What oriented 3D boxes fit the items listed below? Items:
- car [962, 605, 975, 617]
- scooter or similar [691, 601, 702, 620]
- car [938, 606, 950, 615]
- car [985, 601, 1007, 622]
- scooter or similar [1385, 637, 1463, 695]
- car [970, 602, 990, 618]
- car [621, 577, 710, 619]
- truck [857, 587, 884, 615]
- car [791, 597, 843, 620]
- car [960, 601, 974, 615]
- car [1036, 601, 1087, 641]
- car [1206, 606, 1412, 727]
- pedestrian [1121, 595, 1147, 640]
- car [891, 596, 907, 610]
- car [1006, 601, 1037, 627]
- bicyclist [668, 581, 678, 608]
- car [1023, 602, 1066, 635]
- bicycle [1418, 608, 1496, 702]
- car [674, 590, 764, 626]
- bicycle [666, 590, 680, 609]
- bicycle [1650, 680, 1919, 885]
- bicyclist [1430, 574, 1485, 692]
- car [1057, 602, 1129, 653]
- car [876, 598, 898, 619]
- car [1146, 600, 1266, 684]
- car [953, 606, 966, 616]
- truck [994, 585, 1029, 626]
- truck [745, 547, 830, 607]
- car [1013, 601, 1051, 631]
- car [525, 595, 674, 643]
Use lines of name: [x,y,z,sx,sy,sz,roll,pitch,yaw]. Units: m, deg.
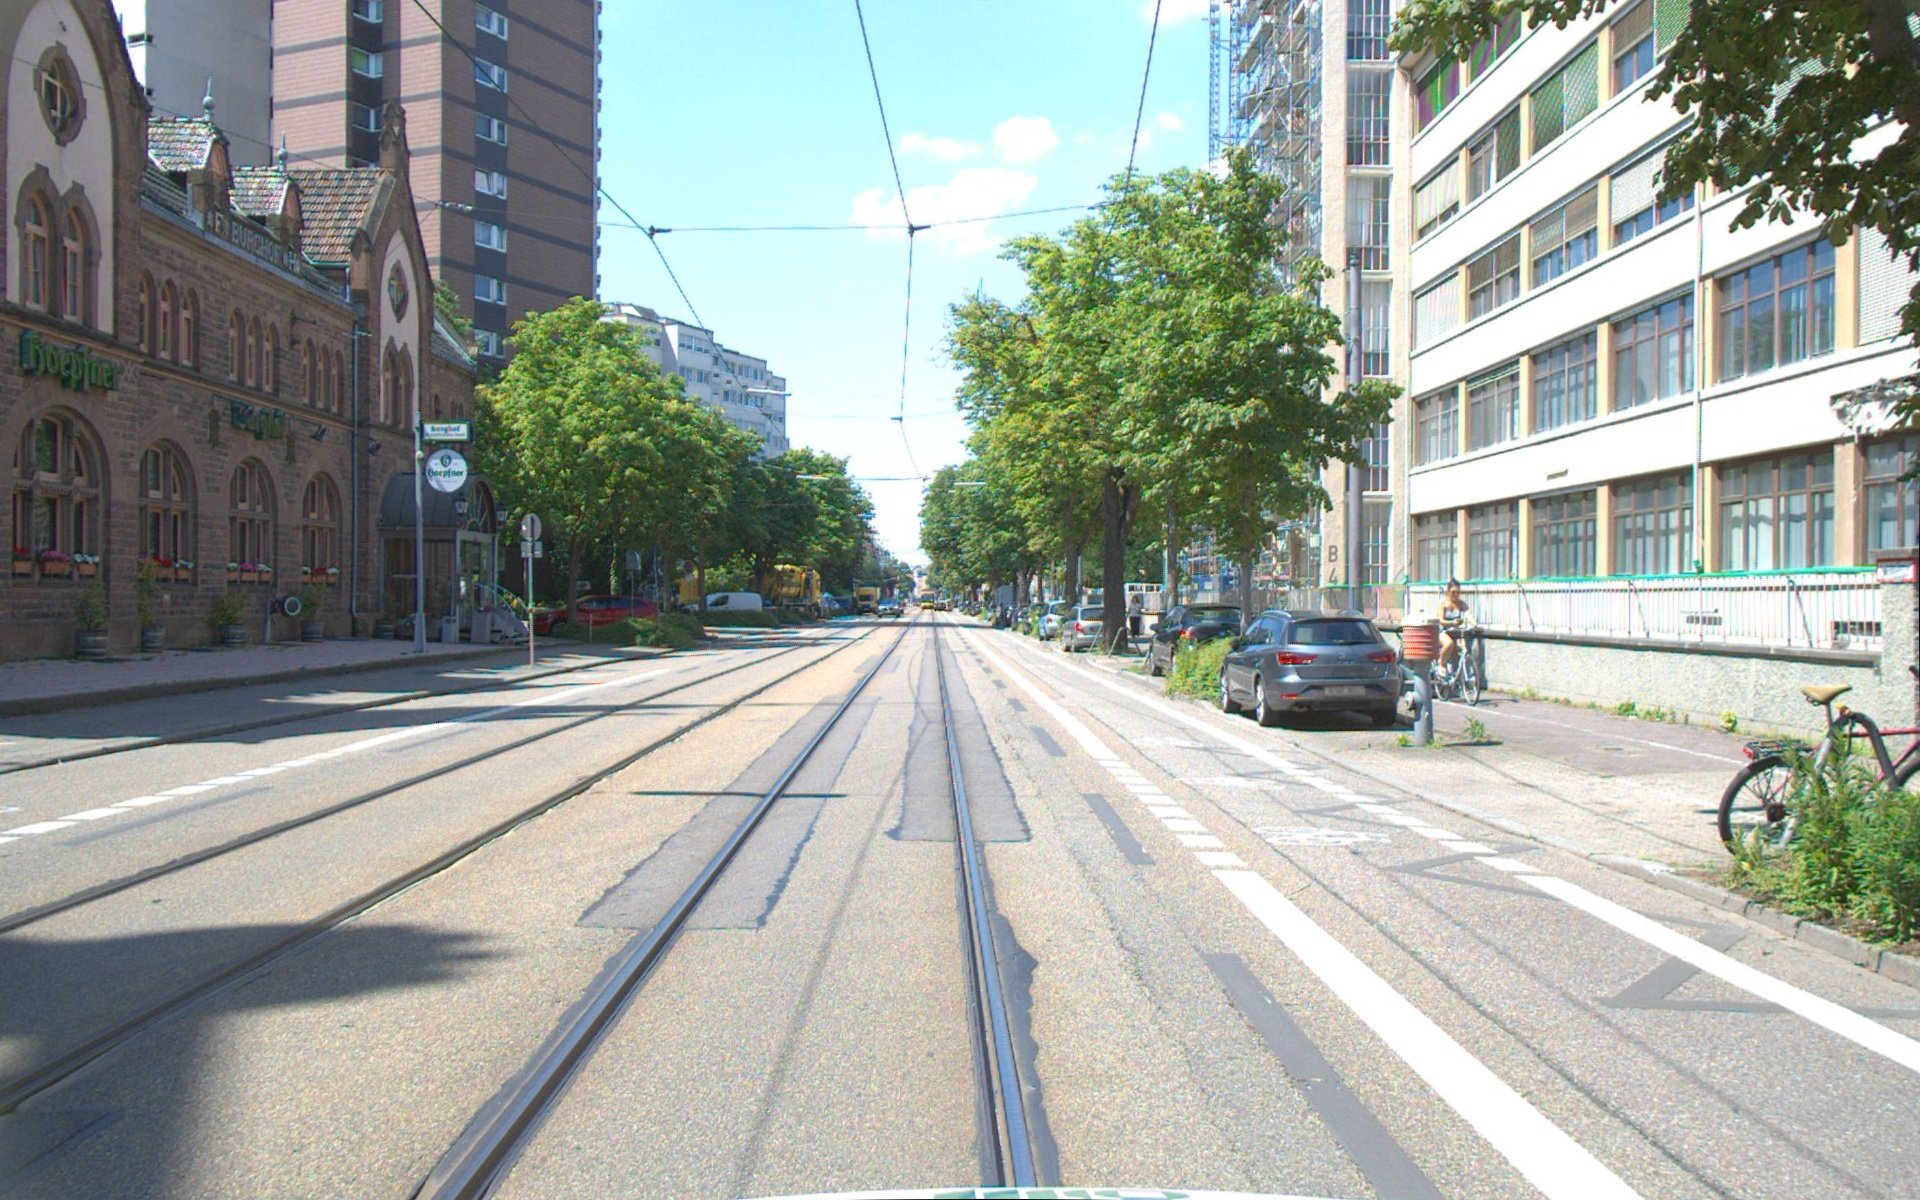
car: [1.125,1.465,220.421,1.676,1.448,4.308,-1,-1,-1]
scooter or similar: [-16.747,0.666,105.248,0.375,1.143,1.370,1,0,4]
car: [-2.369,1.515,246.443,1.745,1.369,3.415,0,0,-1]
car: [2.732,0.854,126.282,1.610,1.561,3.785,0,0,0]
scooter or similar: [7.242,1.012,25.882,0.746,0.821,1.555,-2,0,-1]
car: [1.926,0.989,160.153,1.606,1.511,3.869,-1,-1,-4]
car: [-19.724,-0.086,111.248,2.137,2.611,6.713,0,-2,29]
truck: [-9.521,0.108,175.780,2.312,2.902,7.378,-1,0,1]
car: [-12.873,0.774,149.134,1.887,1.968,4.729,-2,-1,41]
car: [0.830,1.023,201.228,1.560,1.645,3.906,-1,-1,-1]
car: [3.993,0.812,65.400,1.637,1.544,4.200,0,0,-2]
car: [4.557,0.804,22.266,1.637,1.433,4.747,0,0,-2]
pedestrian: [6.309,0.633,60.072,0.783,1.616,0.919,-1,0,-2]
car: [-6.739,0.316,183.207,1.738,1.422,4.286,-1,0,-1]
car: [3.556,0.791,96.147,1.786,1.497,4.401,0,0,2]
bicyclist: [-16.395,-0.317,94.531,0.471,1.507,0.780,1,0,-3]
car: [3.808,0.828,75.071,1.637,1.463,4.040,0,0,-2]
bicycle: [7.251,0.779,24.208,0.543,1.287,1.773,-2,0,-1]
car: [-13.070,0.424,89.807,4.492,1.822,1.879,1,0,-34]
bicycle: [-16.408,-0.055,94.538,0.507,1.065,1.875,1,0,-3]
bicycle: [4.754,1.005,9.268,1.553,1.078,0.562,0,0,-3]
bicyclist: [7.233,0.476,24.077,0.569,1.677,0.599,-2,0,-1]
car: [4.180,0.841,52.479,1.638,1.525,4.362,0,0,-4]
car: [-6.250,0.718,142.215,1.793,1.710,4.183,0,0,-1]
car: [4.706,0.763,32.121,1.637,1.515,3.979,0,0,-2]
car: [-0.096,1.614,238.733,1.676,1.448,4.308,-1,-1,-1]
truck: [3.292,0.346,106.661,1.974,2.532,5.954,0,0,-2]
truck: [-12.353,-1.584,119.747,2.657,3.909,10.972,1,-1,13]
car: [3.691,0.780,85.174,1.787,1.497,4.486,0,0,0]
car: [-12.506,0.667,57.453,4.713,1.594,1.982,1,0,-30]
